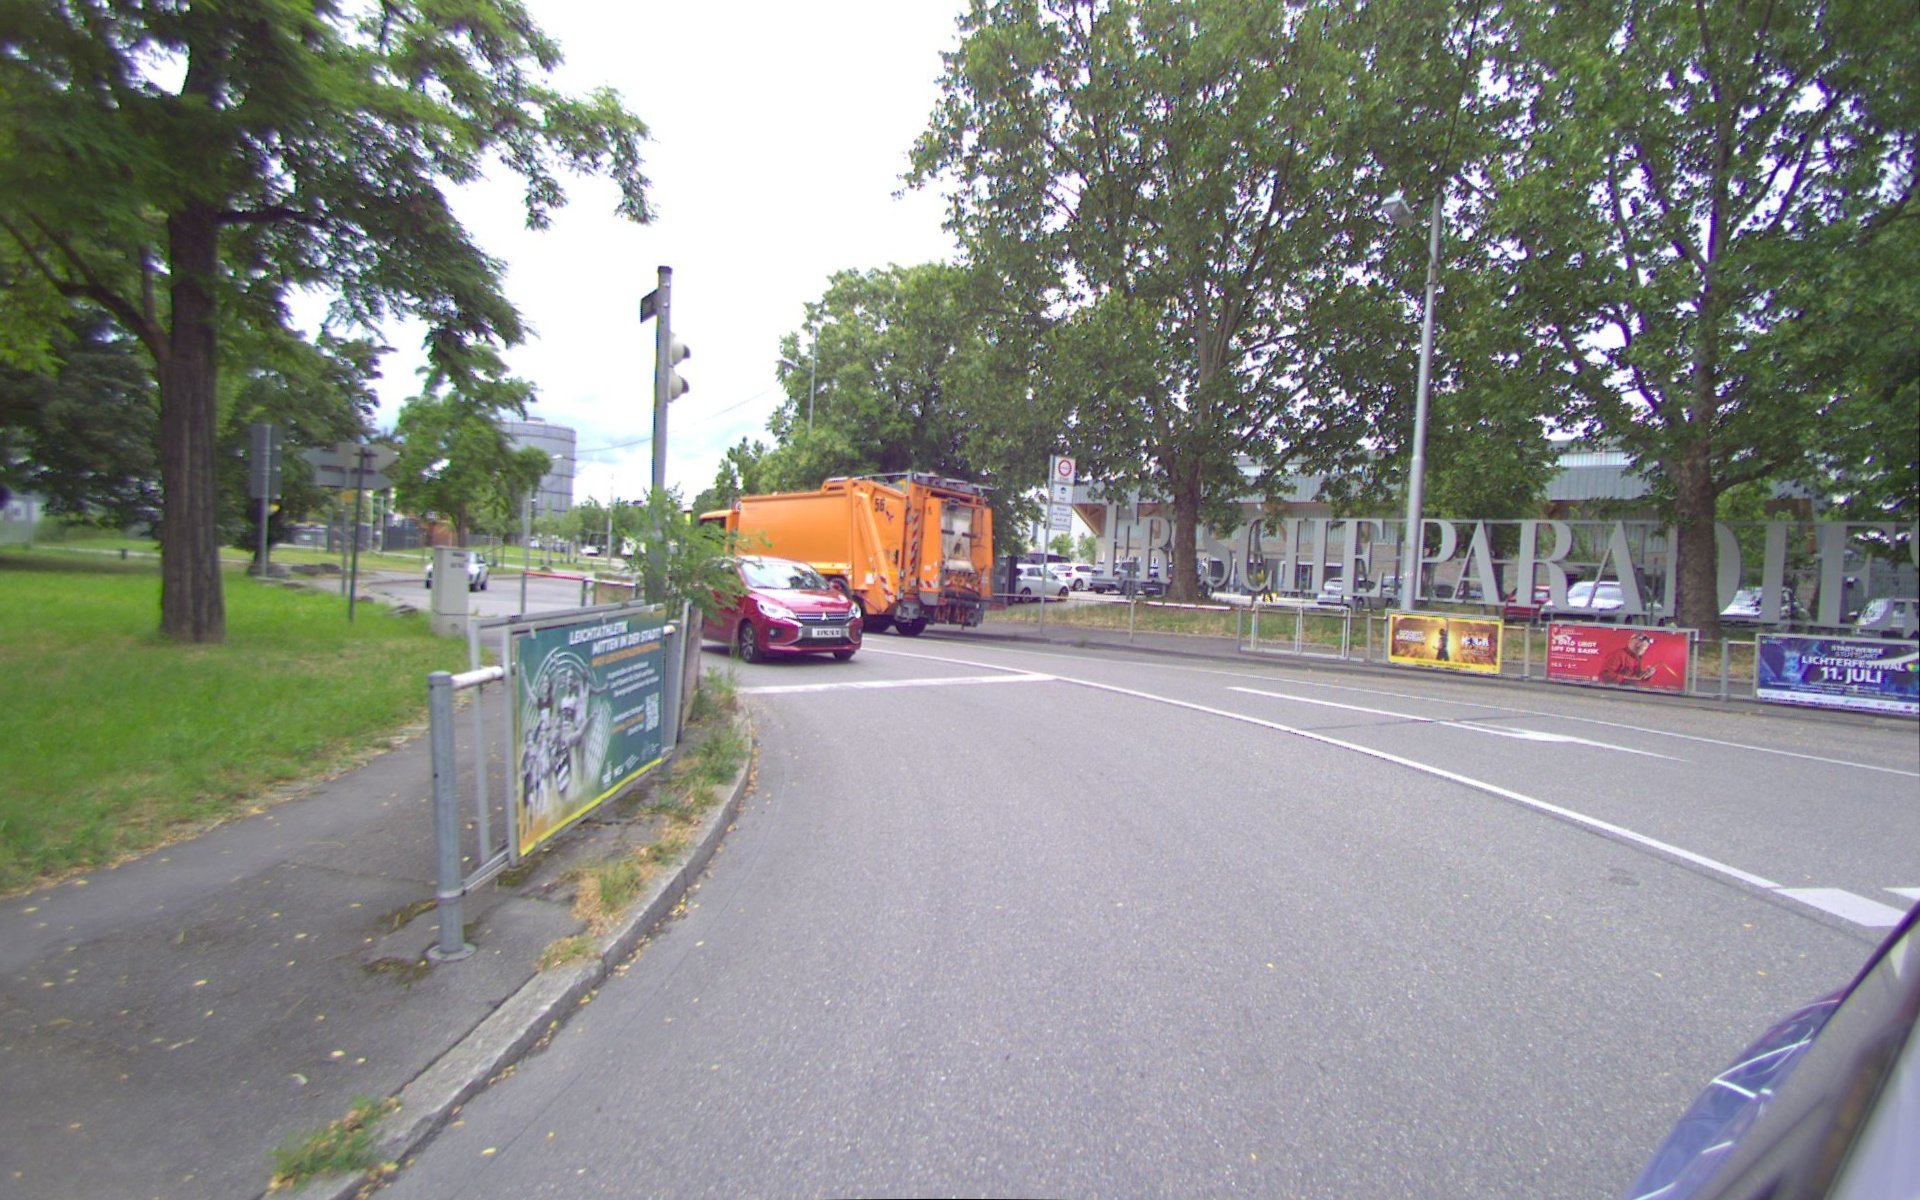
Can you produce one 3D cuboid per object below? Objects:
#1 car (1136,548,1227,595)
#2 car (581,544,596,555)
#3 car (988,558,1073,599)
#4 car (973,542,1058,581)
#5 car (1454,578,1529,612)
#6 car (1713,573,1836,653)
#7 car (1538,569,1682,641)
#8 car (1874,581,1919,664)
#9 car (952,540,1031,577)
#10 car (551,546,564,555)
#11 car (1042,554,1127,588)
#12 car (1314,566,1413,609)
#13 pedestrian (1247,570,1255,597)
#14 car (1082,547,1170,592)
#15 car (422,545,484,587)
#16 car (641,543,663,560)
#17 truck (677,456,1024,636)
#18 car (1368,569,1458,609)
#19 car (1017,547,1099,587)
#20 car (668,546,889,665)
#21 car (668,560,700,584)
[{"bbox_3d":[10.884,-1.398,49.518,4.560,2.038,1.997,2,2,-42],"label":"car"},{"bbox_3d":[-63.005,-8.565,171.578,2.005,1.555,3.950,4,1,-26],"label":"car"},{"bbox_3d":[3.004,-0.902,42.790,1.477,1.523,3.670,5,2,44],"label":"car"},{"bbox_3d":[3.352,-2.273,60.385,5.014,2.023,1.997,2,2,-42],"label":"car"},{"bbox_3d":[28.138,-0.240,53.510,4.560,1.580,1.997,2,2,-42],"label":"car"},{"bbox_3d":[19.090,0.327,23.653,4.244,1.633,1.589,2,2,-43],"label":"car"},{"bbox_3d":[17.002,0.149,26.392,4.445,1.633,1.882,3,2,-41],"label":"car"},{"bbox_3d":[20.881,0.537,21.637,3.932,1.633,1.589,2,2,-43],"label":"car"},{"bbox_3d":[1.961,-2.548,62.417,4.740,2.038,1.997,2,2,-42],"label":"car"},{"bbox_3d":[-76.093,-9.300,191.379,2.005,1.555,3.950,4,1,-26],"label":"car"},{"bbox_3d":[6.772,-1.546,54.654,4.560,1.577,1.997,2,2,-42],"label":"car"},{"bbox_3d":[17.056,-0.501,42.701,4.560,1.580,1.997,2,2,-42],"label":"car"},{"bbox_3d":[19.278,-1.099,67.064,0.338,1.787,0.434,4,0,25],"label":"pedestrian"},{"bbox_3d":[8.538,-1.544,51.834,4.560,2.038,1.997,2,2,-42],"label":"car"},{"bbox_3d":[-20.464,-1.425,40.772,2.007,1.554,3.948,-1,4,-29],"label":"car"},{"bbox_3d":[-31.851,-5.003,104.627,2.004,1.555,3.952,3,2,-17],"label":"car"},{"bbox_3d":[-3.193,-1.253,24.837,2.750,3.570,10.403,2,1,-42],"label":"truck"},{"bbox_3d":[20.554,-0.471,45.808,4.560,1.580,1.997,2,2,-42],"label":"car"},{"bbox_3d":[5.577,-1.856,57.292,4.560,2.038,1.997,2,2,-42],"label":"car"},{"bbox_3d":[-2.811,-0.008,14.995,1.701,1.483,3.835,0,3,-36],"label":"car"},{"bbox_3d":[-18.489,-1.878,67.856,1.681,1.508,3.378,3,1,-10],"label":"car"}]
